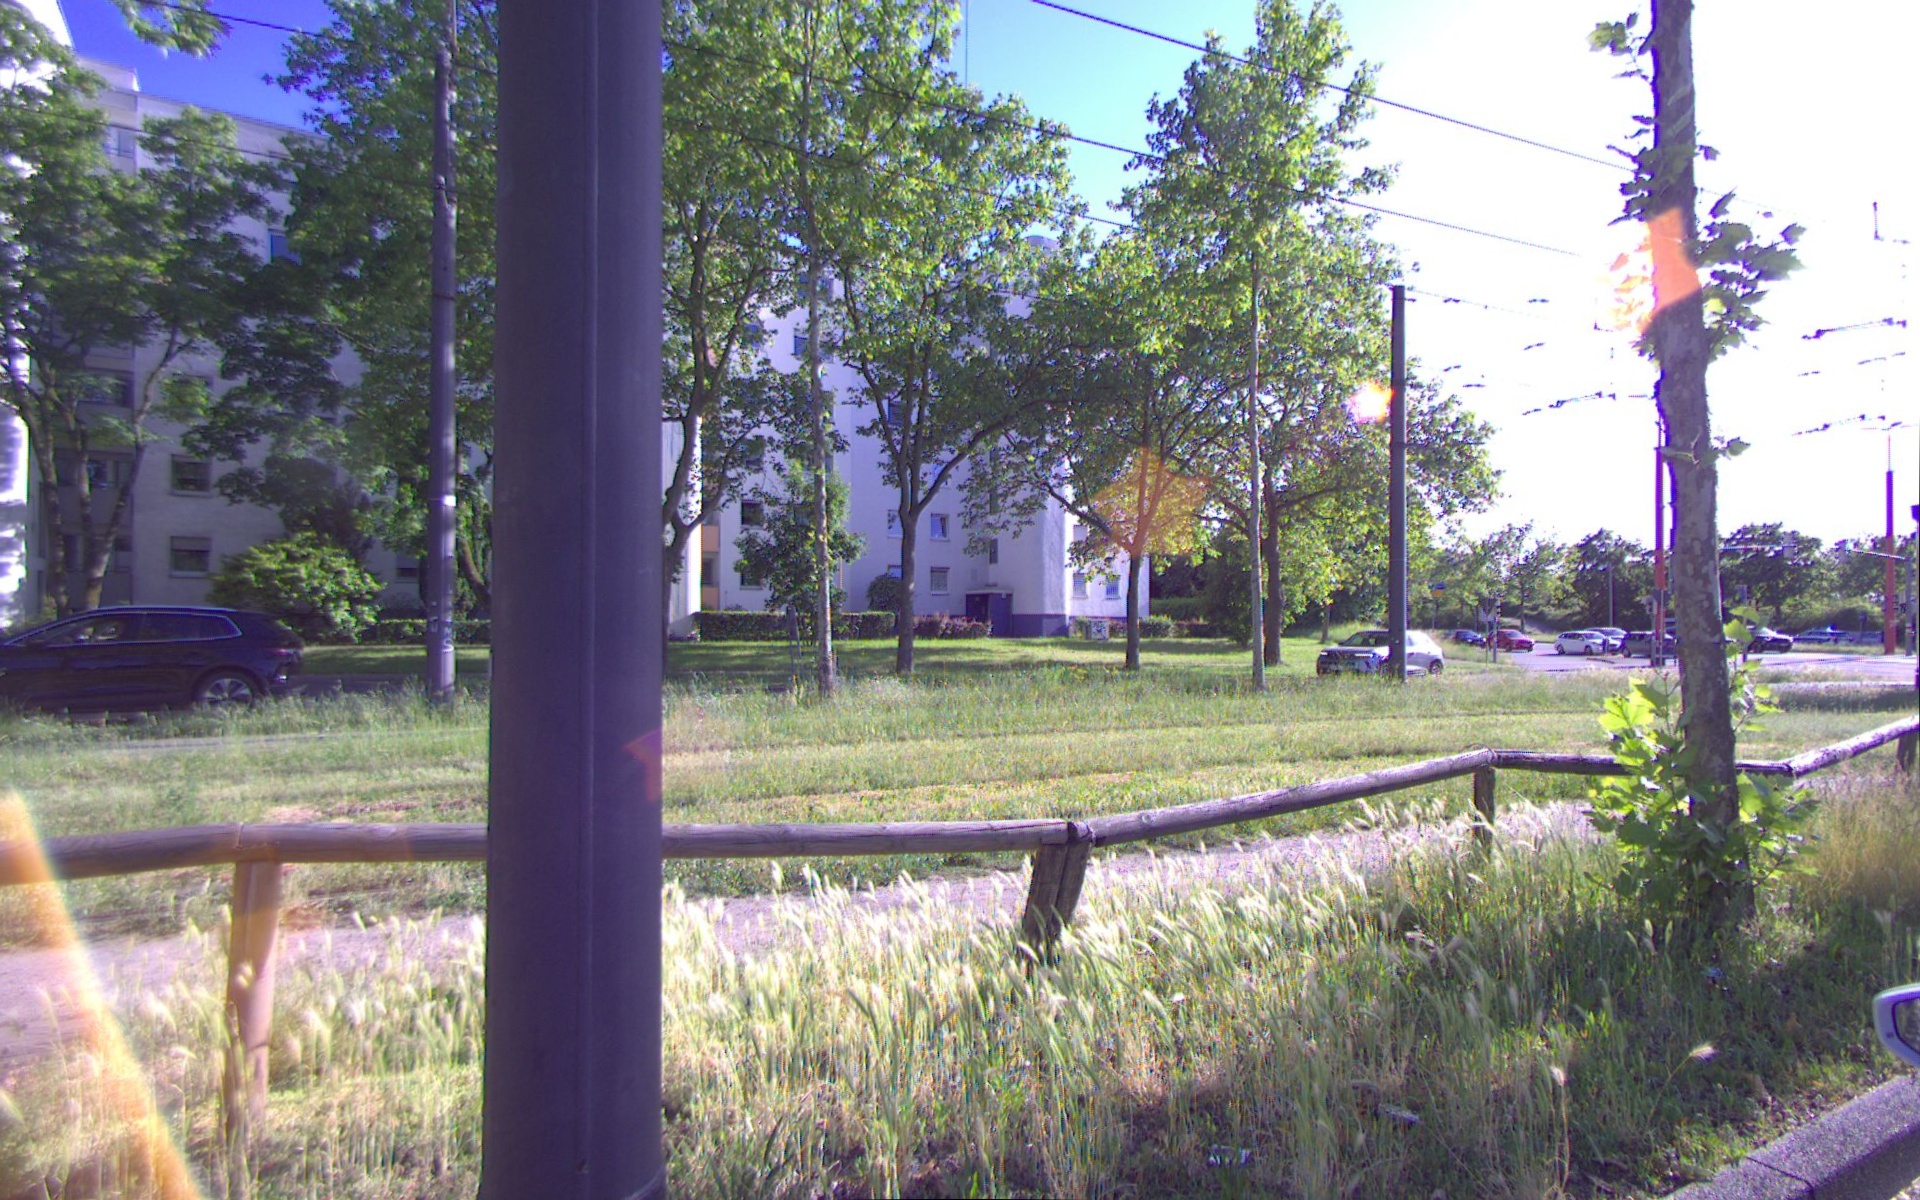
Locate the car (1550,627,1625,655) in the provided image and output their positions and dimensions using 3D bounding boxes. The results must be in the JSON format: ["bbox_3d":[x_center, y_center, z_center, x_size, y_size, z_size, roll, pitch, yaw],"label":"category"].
[{"bbox_3d":[38.935,2.536,62.469,1.833,1.633,4.185,1,-1,-4],"label":"car"}]

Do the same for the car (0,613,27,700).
[{"bbox_3d":[-17.992,0.933,17.088,3.547,1.439,1.576,1,0,18],"label":"car"}]

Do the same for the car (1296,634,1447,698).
[{"bbox_3d":[11.059,1.710,26.890,4.290,1.543,1.793,2,-1,-37],"label":"car"}]

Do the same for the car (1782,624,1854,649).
[{"bbox_3d":[61.538,2.597,72.115,1.767,1.678,4.116,1,-1,3],"label":"car"}]

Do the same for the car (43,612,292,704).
[{"bbox_3d":[-14.580,1.003,18.512,3.898,1.462,1.710,1,0,18],"label":"car"}]

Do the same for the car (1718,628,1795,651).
[{"bbox_3d":[48.881,2.407,61.738,1.664,1.347,4.001,1,-1,2],"label":"car"}]

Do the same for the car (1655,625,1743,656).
[{"bbox_3d":[42.450,2.309,57.800,1.962,1.666,3.997,1,-1,-5],"label":"car"}]

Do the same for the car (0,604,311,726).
[{"bbox_3d":[-11.517,0.843,13.973,4.054,1.532,1.756,1,-1,-30],"label":"car"}]

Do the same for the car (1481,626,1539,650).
[{"bbox_3d":[38.462,2.641,70.317,1.699,1.533,3.998,1,-1,-4],"label":"car"}]
